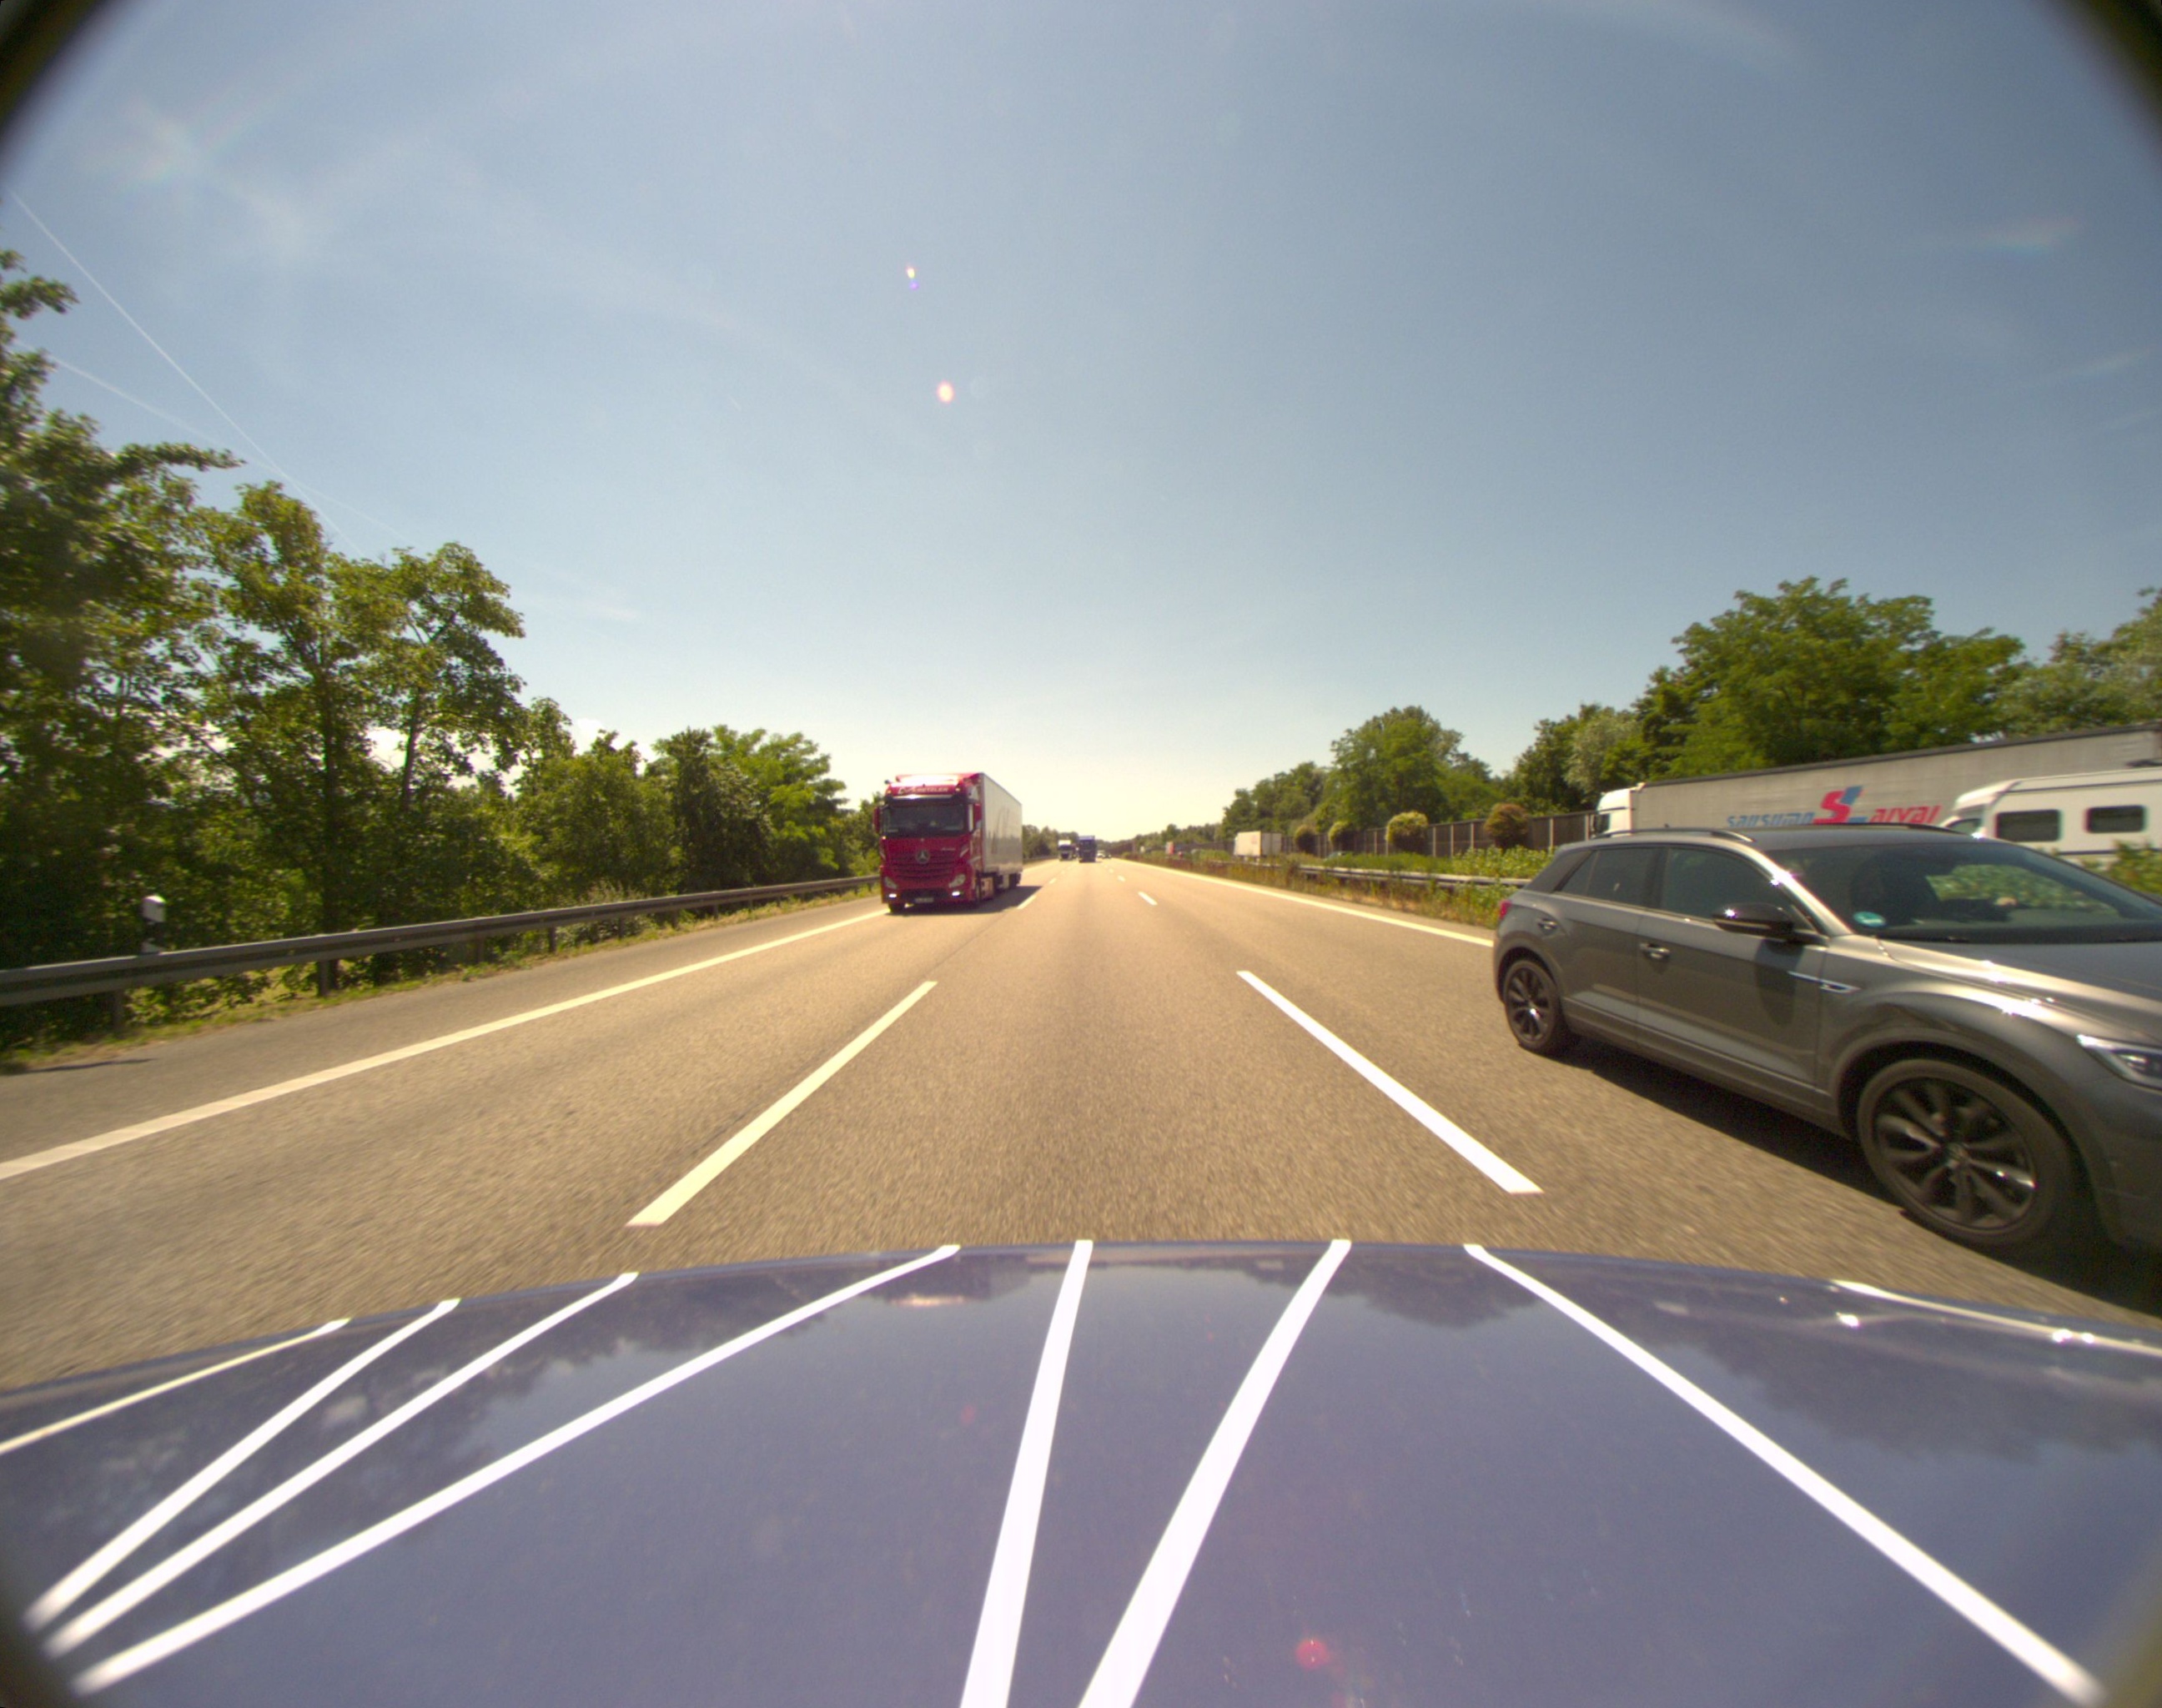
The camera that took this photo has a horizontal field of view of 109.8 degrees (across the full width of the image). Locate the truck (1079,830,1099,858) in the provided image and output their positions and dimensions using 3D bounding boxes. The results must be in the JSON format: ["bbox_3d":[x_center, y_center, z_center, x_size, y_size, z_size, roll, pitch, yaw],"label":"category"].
[{"bbox_3d":[1.192,-1.442,114.056,2.707,4.093,6.990,-2,0,0],"label":"truck"}]

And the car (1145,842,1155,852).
[{"bbox_3d":[20.220,-2.006,223.273,2.321,2.548,7.584,-5,0,1],"label":"car"}]

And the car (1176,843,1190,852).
[{"bbox_3d":[18.738,-1.253,139.635,1.998,1.587,4.506,0,0,1],"label":"car"}]

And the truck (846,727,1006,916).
[{"bbox_3d":[-4.412,-0.835,23.444,3.242,4.860,6.972,-2,0,1],"label":"truck"}]

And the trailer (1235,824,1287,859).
[{"bbox_3d":[22.413,-1.544,95.555,3.619,4.080,12.795,0,0,1],"label":"trailer"}]

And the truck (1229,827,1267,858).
[{"bbox_3d":[22.555,-1.536,103.072,3.590,4.080,7.838,0,1,1],"label":"truck"}]

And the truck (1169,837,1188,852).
[{"bbox_3d":[24.270,-2.350,190.246,2.845,3.322,17.005,-2,0,1],"label":"truck"}]

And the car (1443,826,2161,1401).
[{"bbox_3d":[3.969,0.727,3.781,1.885,1.630,5.008,-1,0,-1],"label":"car"}]

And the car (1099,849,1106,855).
[{"bbox_3d":[5.712,-0.487,202.341,1.855,1.559,4.000,-2,0,1],"label":"car"}]

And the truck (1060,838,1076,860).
[{"bbox_3d":[-2.548,-0.968,151.796,2.820,4.139,10.448,-2,0,0],"label":"truck"}]

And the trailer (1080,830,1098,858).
[{"bbox_3d":[1.249,-1.460,121.253,2.707,4.093,12.132,-2,0,0],"label":"trailer"}]

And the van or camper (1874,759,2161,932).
[{"bbox_3d":[17.304,-0.162,11.744,2.472,2.562,7.410,-1,1,1],"label":"van or camper"}]

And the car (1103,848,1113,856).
[{"bbox_3d":[5.708,-0.429,162.376,2.045,1.559,4.000,-2,0,1],"label":"car"}]

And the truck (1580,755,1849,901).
[{"bbox_3d":[22.155,-0.847,27.393,3.225,4.414,7.870,-1,1,1],"label":"truck"}]

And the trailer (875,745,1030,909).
[{"bbox_3d":[-4.305,-0.772,29.735,3.277,4.809,14.030,-2,0,1],"label":"trailer"}]

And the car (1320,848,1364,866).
[{"bbox_3d":[17.626,0.193,51.421,1.630,1.149,4.079,-1,1,1],"label":"car"}]

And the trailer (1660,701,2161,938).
[{"bbox_3d":[22.054,-0.754,20.477,3.174,4.452,12.951,-1,1,1],"label":"trailer"}]
